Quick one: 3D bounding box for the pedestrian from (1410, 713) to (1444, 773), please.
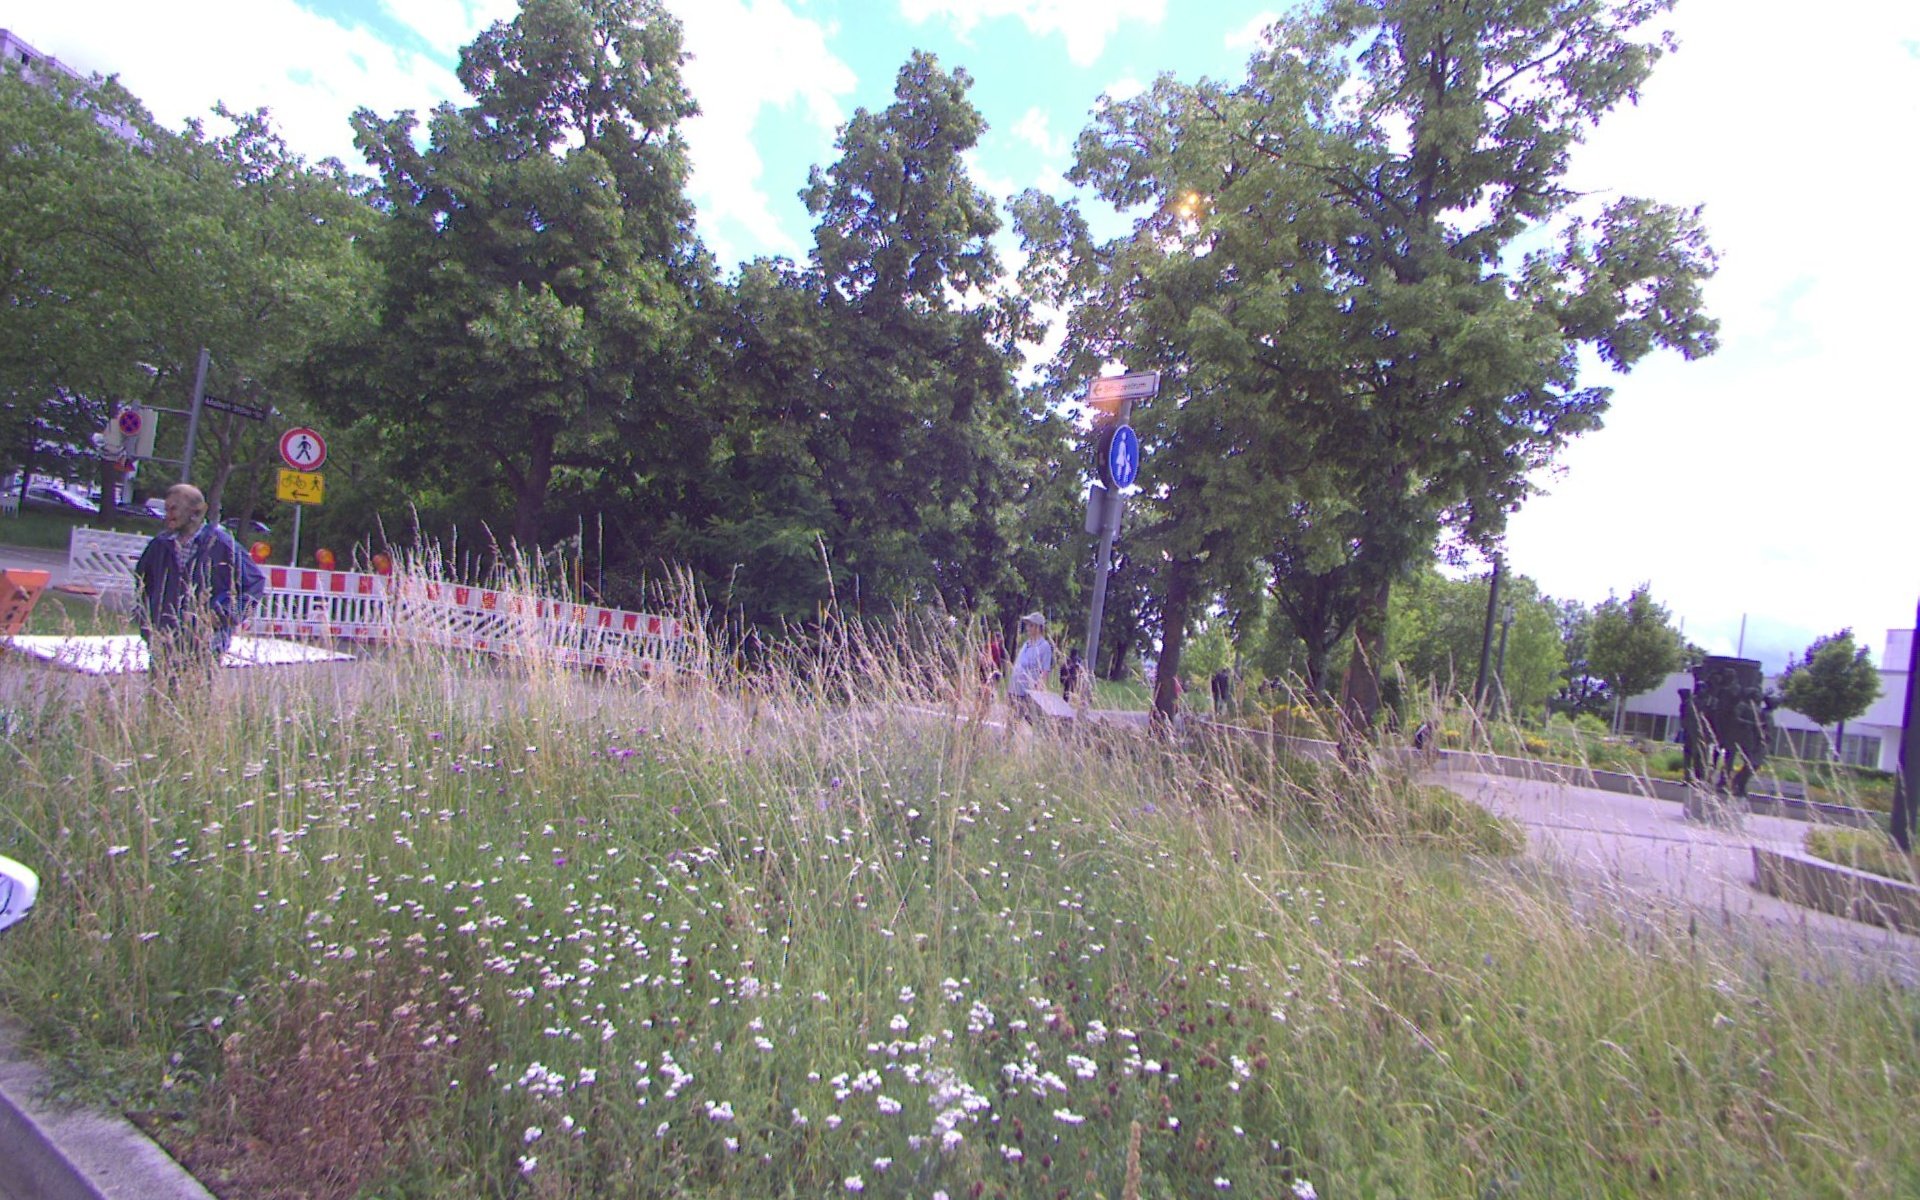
[{"bbox_3d":[10.762,3.286,23.176,0.560,1.277,0.582,7,-1,29],"label":"pedestrian"}]

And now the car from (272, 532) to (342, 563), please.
[{"bbox_3d":[-45.223,-3.652,69.694,3.674,1.517,1.736,7,-2,5],"label":"car"}]

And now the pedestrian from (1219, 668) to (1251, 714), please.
[{"bbox_3d":[10.936,3.621,40.004,0.974,1.671,0.871,7,0,21],"label":"pedestrian"}]

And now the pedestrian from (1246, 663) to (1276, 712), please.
[{"bbox_3d":[13.575,3.930,45.396,1.026,2.037,1.099,8,-1,19],"label":"pedestrian"}]

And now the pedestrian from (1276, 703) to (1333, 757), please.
[{"bbox_3d":[7.123,2.683,20.831,0.703,0.959,0.747,8,-1,-21],"label":"pedestrian"}]

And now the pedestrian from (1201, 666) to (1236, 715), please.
[{"bbox_3d":[9.591,3.338,37.359,0.974,1.671,0.871,7,0,21],"label":"pedestrian"}]

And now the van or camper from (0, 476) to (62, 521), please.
[{"bbox_3d":[-44.306,-4.843,46.493,3.925,1.704,1.847,8,-1,4],"label":"van or camper"}]

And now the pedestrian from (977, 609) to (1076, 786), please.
[{"bbox_3d":[0.725,1.053,11.127,0.683,1.812,0.726,8,0,-14],"label":"pedestrian"}]

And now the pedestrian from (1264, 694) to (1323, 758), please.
[{"bbox_3d":[5.205,1.951,15.700,0.685,0.874,0.651,7,0,28],"label":"pedestrian"}]

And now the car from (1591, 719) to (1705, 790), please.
[{"bbox_3d":[22.784,5.076,33.465,1.606,1.786,3.509,7,-2,9],"label":"car"}]

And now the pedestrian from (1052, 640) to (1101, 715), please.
[{"bbox_3d":[2.896,1.899,24.852,0.973,1.671,0.872,8,0,8],"label":"pedestrian"}]

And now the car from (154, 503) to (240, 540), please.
[{"bbox_3d":[-44.634,-4.592,58.892,3.820,1.482,1.486,7,-1,1],"label":"car"}]

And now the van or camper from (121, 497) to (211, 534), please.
[{"bbox_3d":[-44.554,-4.727,56.487,3.706,1.372,1.519,8,-2,-1],"label":"van or camper"}]

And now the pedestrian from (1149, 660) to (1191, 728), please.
[{"bbox_3d":[4.981,2.228,23.842,0.624,1.519,0.704,7,0,29],"label":"pedestrian"}]

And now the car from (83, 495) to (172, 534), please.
[{"bbox_3d":[-43.770,-4.489,52.935,3.345,1.420,1.486,7,-2,2],"label":"car"}]

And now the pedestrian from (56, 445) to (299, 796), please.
[{"bbox_3d":[-4.370,0.119,5.711,0.719,1.761,0.950,8,-1,-26],"label":"pedestrian"}]

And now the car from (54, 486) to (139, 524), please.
[{"bbox_3d":[-54.458,-5.985,63.456,3.751,1.653,1.674,9,-1,1],"label":"car"}]

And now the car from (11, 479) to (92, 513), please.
[{"bbox_3d":[-54.440,-6.243,60.323,3.345,1.420,1.486,7,-2,1],"label":"car"}]

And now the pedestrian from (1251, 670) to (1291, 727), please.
[{"bbox_3d":[10.058,3.163,32.499,0.974,1.671,0.871,7,0,21],"label":"pedestrian"}]

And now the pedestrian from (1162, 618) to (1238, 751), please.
[{"bbox_3d":[3.342,1.166,13.993,0.685,1.715,0.651,7,0,28],"label":"pedestrian"}]

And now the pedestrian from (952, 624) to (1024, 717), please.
[{"bbox_3d":[0.562,1.383,19.840,0.974,1.671,0.871,7,0,21],"label":"pedestrian"}]
